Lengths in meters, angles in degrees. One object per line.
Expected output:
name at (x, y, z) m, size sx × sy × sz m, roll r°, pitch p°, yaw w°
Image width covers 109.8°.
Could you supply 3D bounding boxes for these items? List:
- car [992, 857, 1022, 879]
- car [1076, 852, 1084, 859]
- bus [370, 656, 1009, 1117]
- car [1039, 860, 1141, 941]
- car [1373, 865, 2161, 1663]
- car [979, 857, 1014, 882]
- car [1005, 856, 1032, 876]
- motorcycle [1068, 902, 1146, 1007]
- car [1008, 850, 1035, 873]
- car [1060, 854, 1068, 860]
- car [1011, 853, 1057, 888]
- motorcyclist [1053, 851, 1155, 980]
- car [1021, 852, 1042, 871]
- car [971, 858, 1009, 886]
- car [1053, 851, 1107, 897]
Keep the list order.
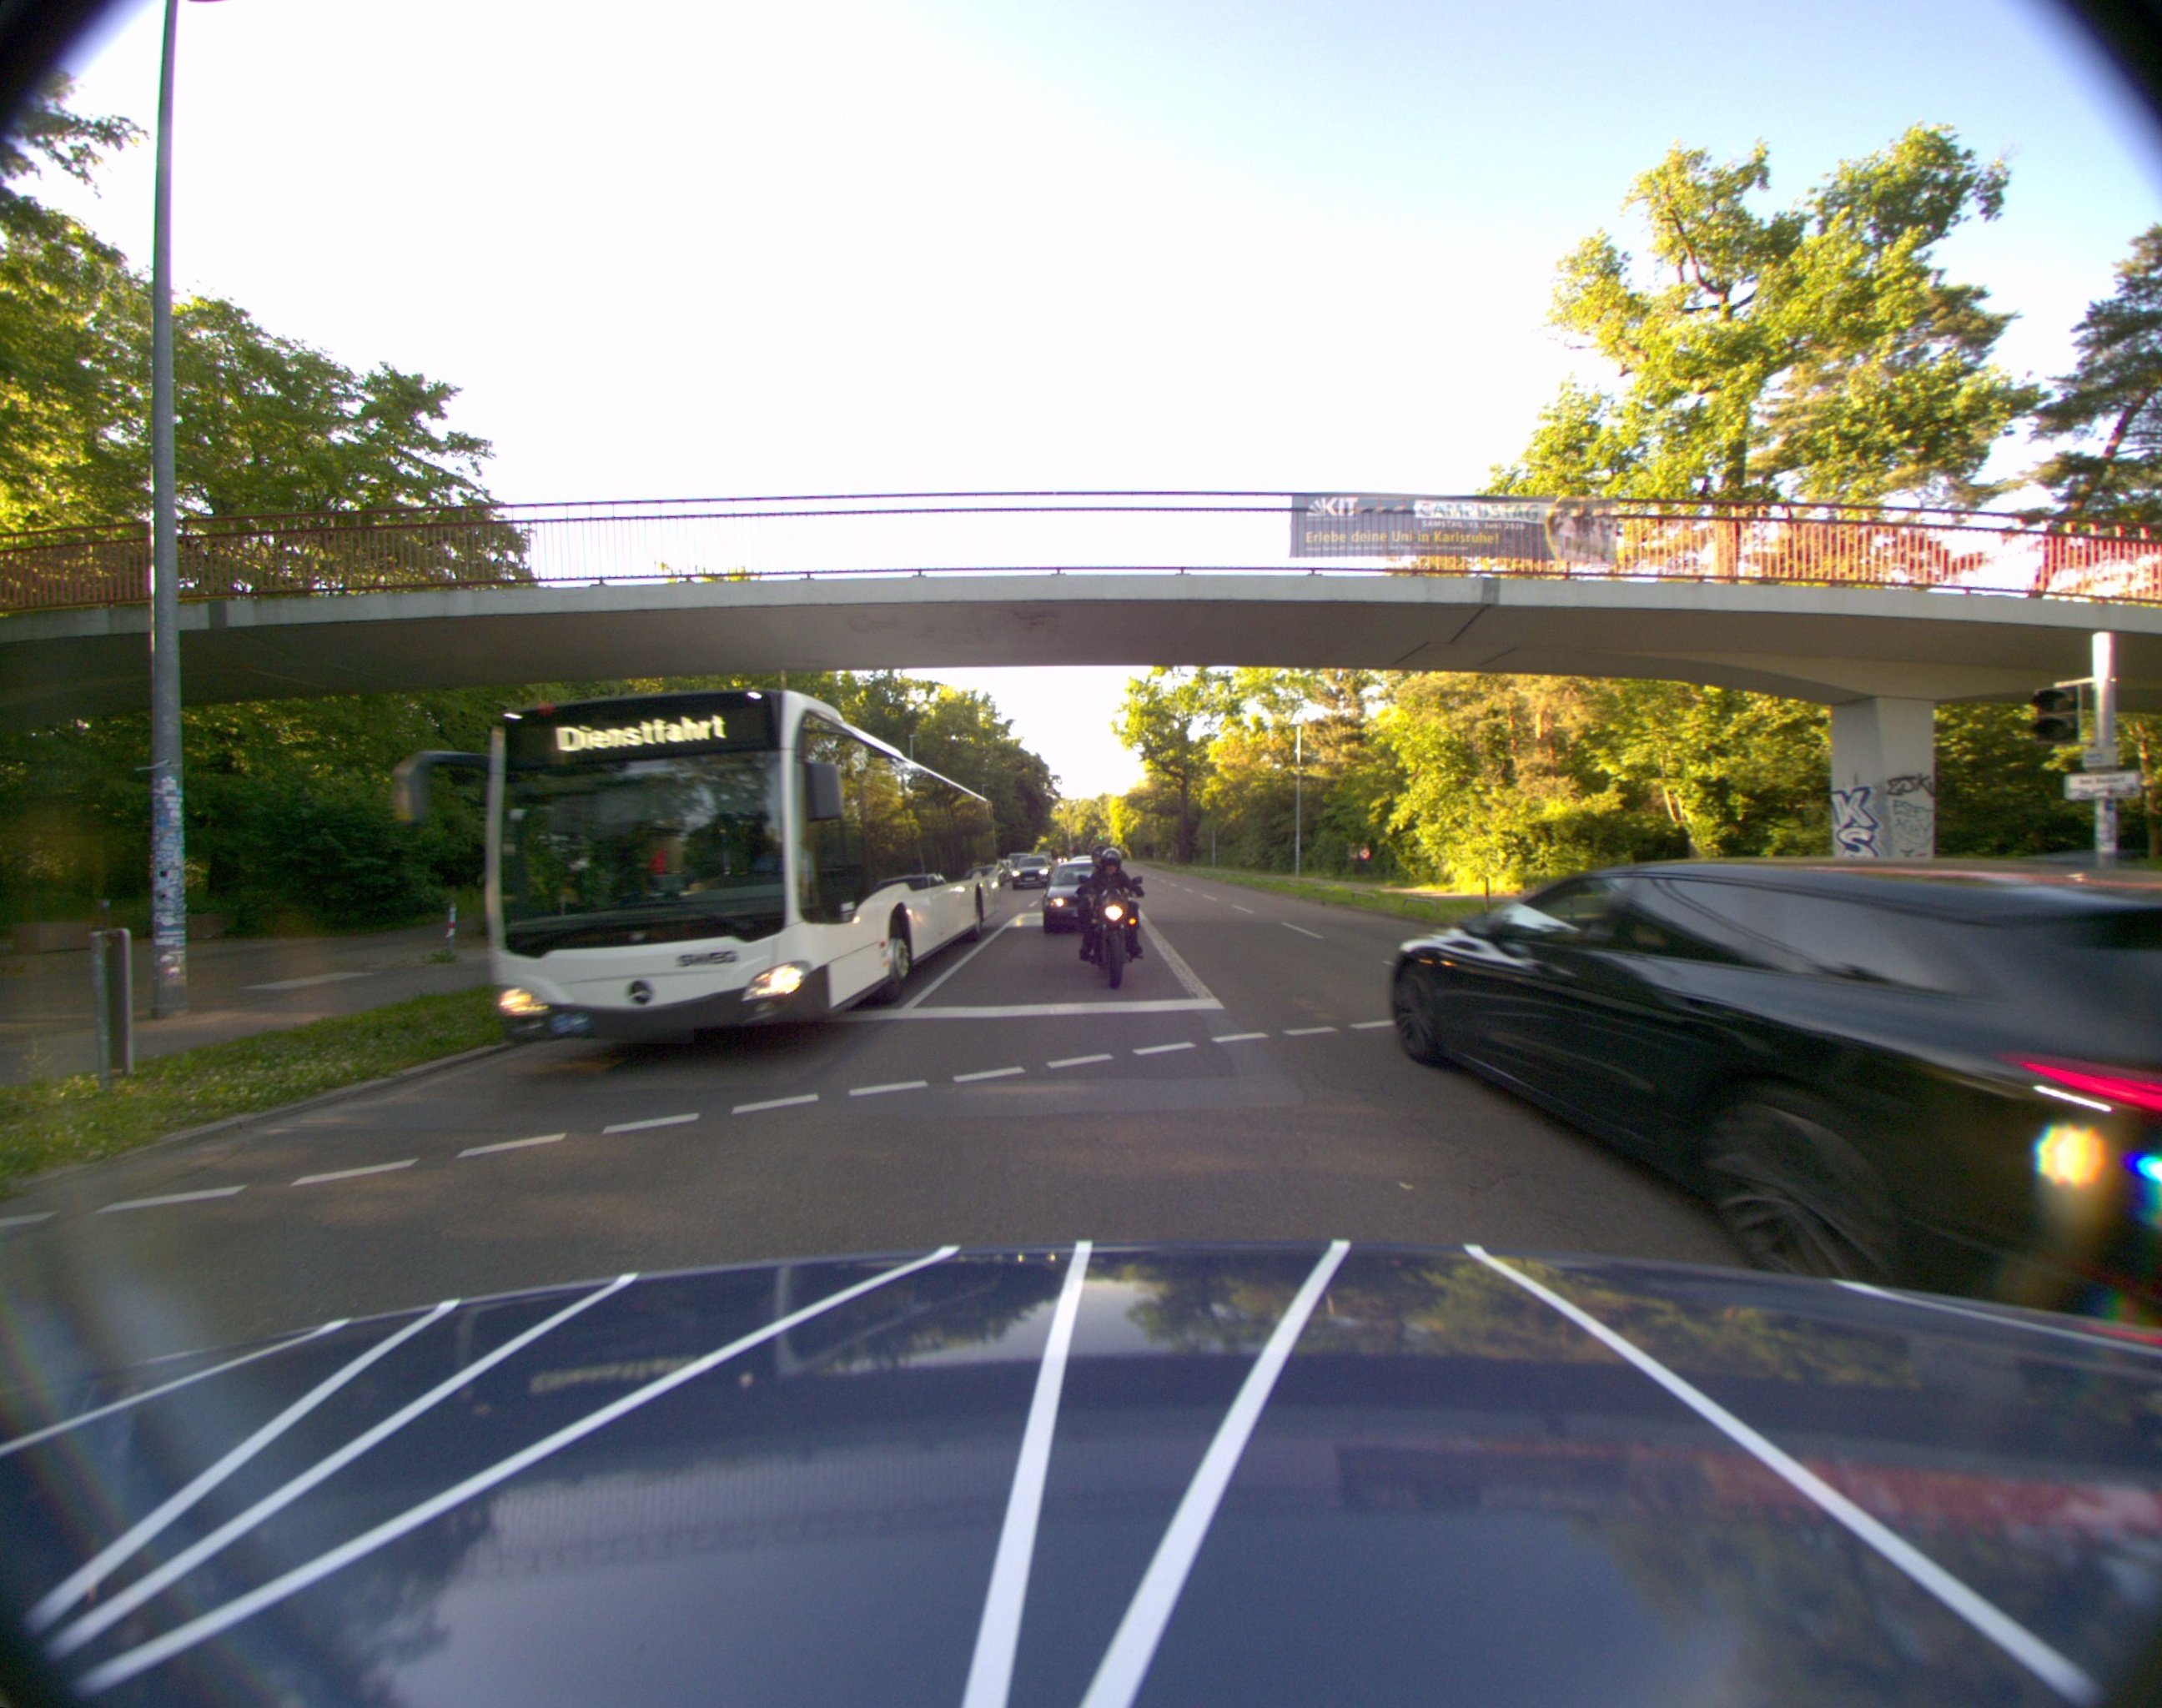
car at (-5.299, 0.964, 54.809) m, size 1.737 × 1.499 × 4.395 m, roll 0°, pitch 0°, yaw 0°
car at (-0.224, 0.266, 166.537) m, size 1.894 × 1.491 × 4.395 m, roll 0°, pitch 0°, yaw 0°
bus at (-3.341, 0.210, 11.499) m, size 3.019 × 3.069 × 12.269 m, roll -4°, pitch 0°, yaw 1°
car at (0.187, 0.892, 16.243) m, size 1.867 × 1.381 × 4.000 m, roll -2°, pitch 0°, yaw 0°
car at (3.237, 0.884, 3.588) m, size 1.966 × 1.497 × 4.646 m, roll -1°, pitch 1°, yaw 1°
car at (-5.472, 0.966, 49.605) m, size 1.737 × 1.499 × 4.226 m, roll 0°, pitch 0°, yaw 0°
car at (-4.958, 0.956, 60.746) m, size 1.737 × 1.499 × 4.395 m, roll 0°, pitch 0°, yaw 0°
motorcycle at (0.355, 1.160, 9.433) m, size 0.807 × 0.907 × 2.713 m, roll -2°, pitch 1°, yaw 3°
car at (-5.206, 0.648, 66.969) m, size 2.017 × 1.964 × 5.041 m, roll 0°, pitch 0°, yaw 0°
car at (-3.790, 0.670, 169.808) m, size 1.465 × 1.237 × 4.000 m, roll -1°, pitch 0°, yaw 0°
car at (-2.371, 0.820, 39.575) m, size 1.993 × 1.597 × 4.362 m, roll -4°, pitch 0°, yaw 1°
motorcyclist at (0.313, 0.701, 9.435) m, size 1.137 × 1.420 × 1.566 m, roll -1°, pitch 2°, yaw 4°
car at (-5.141, 0.765, 79.383) m, size 1.951 × 1.964 × 4.395 m, roll 0°, pitch 0°, yaw 0°
car at (-5.221, 1.025, 43.986) m, size 1.704 × 1.499 × 4.136 m, roll 0°, pitch 0°, yaw 0°
car at (-0.063, 0.746, 31.322) m, size 1.999 × 1.625 × 5.885 m, roll -1°, pitch 1°, yaw 0°
